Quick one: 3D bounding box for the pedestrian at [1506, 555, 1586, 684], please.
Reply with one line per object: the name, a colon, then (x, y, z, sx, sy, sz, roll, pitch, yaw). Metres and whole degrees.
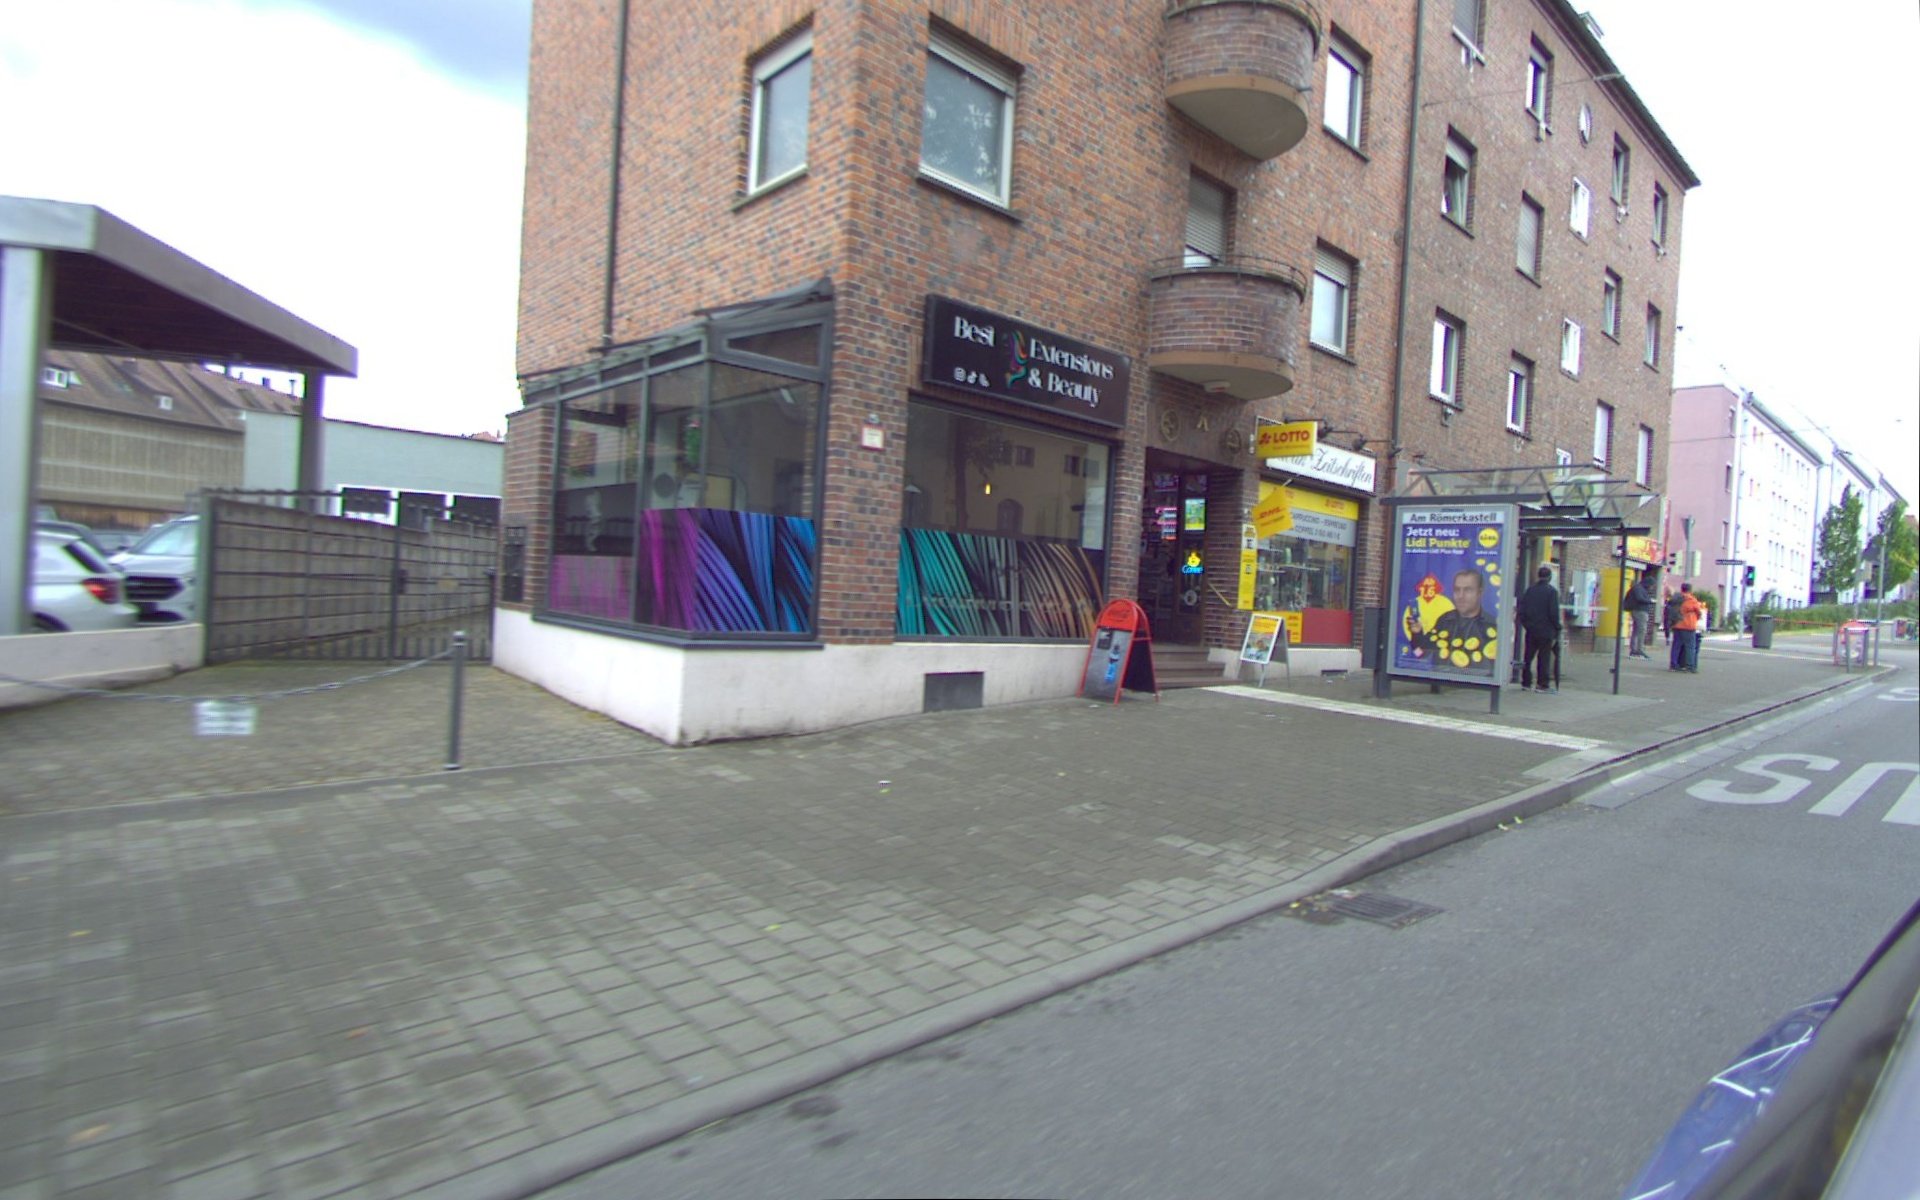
pedestrian: (8.229, 0.254, 14.215, 0.749, 1.749, 0.672, 1, 1, -37)

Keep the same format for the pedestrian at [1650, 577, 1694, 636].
pedestrian: (21.146, 0.177, 30.056, 0.759, 1.676, 0.790, 1, 4, -41)

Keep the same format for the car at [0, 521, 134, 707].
car: (-9.969, 0.091, 9.125, 3.824, 1.686, 1.715, 0, 2, -43)

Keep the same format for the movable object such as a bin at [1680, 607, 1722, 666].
movable object such as a bin: (13.993, 0.683, 19.115, 0.402, 1.069, 0.455, 1, 1, -22)

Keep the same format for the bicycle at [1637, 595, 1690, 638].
bicycle: (21.096, 0.477, 30.321, 2.350, 1.208, 0.761, 0, 2, -42)

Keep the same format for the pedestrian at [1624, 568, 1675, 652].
pedestrian: (14.988, 0.208, 21.986, 0.763, 1.771, 0.649, 1, 1, -37)

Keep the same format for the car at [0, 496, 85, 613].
car: (-16.285, -0.796, 17.446, 1.687, 1.845, 3.887, 1, 2, -40)

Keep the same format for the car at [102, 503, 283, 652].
car: (-10.249, -0.327, 13.457, 1.687, 1.685, 3.887, 0, 2, -40)

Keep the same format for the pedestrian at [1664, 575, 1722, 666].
pedestrian: (13.755, 0.375, 18.997, 0.666, 1.657, 0.568, 1, 1, -22)

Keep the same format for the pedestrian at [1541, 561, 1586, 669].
pedestrian: (10.172, 0.241, 17.057, 0.450, 1.786, 0.480, 0, 2, -42)
